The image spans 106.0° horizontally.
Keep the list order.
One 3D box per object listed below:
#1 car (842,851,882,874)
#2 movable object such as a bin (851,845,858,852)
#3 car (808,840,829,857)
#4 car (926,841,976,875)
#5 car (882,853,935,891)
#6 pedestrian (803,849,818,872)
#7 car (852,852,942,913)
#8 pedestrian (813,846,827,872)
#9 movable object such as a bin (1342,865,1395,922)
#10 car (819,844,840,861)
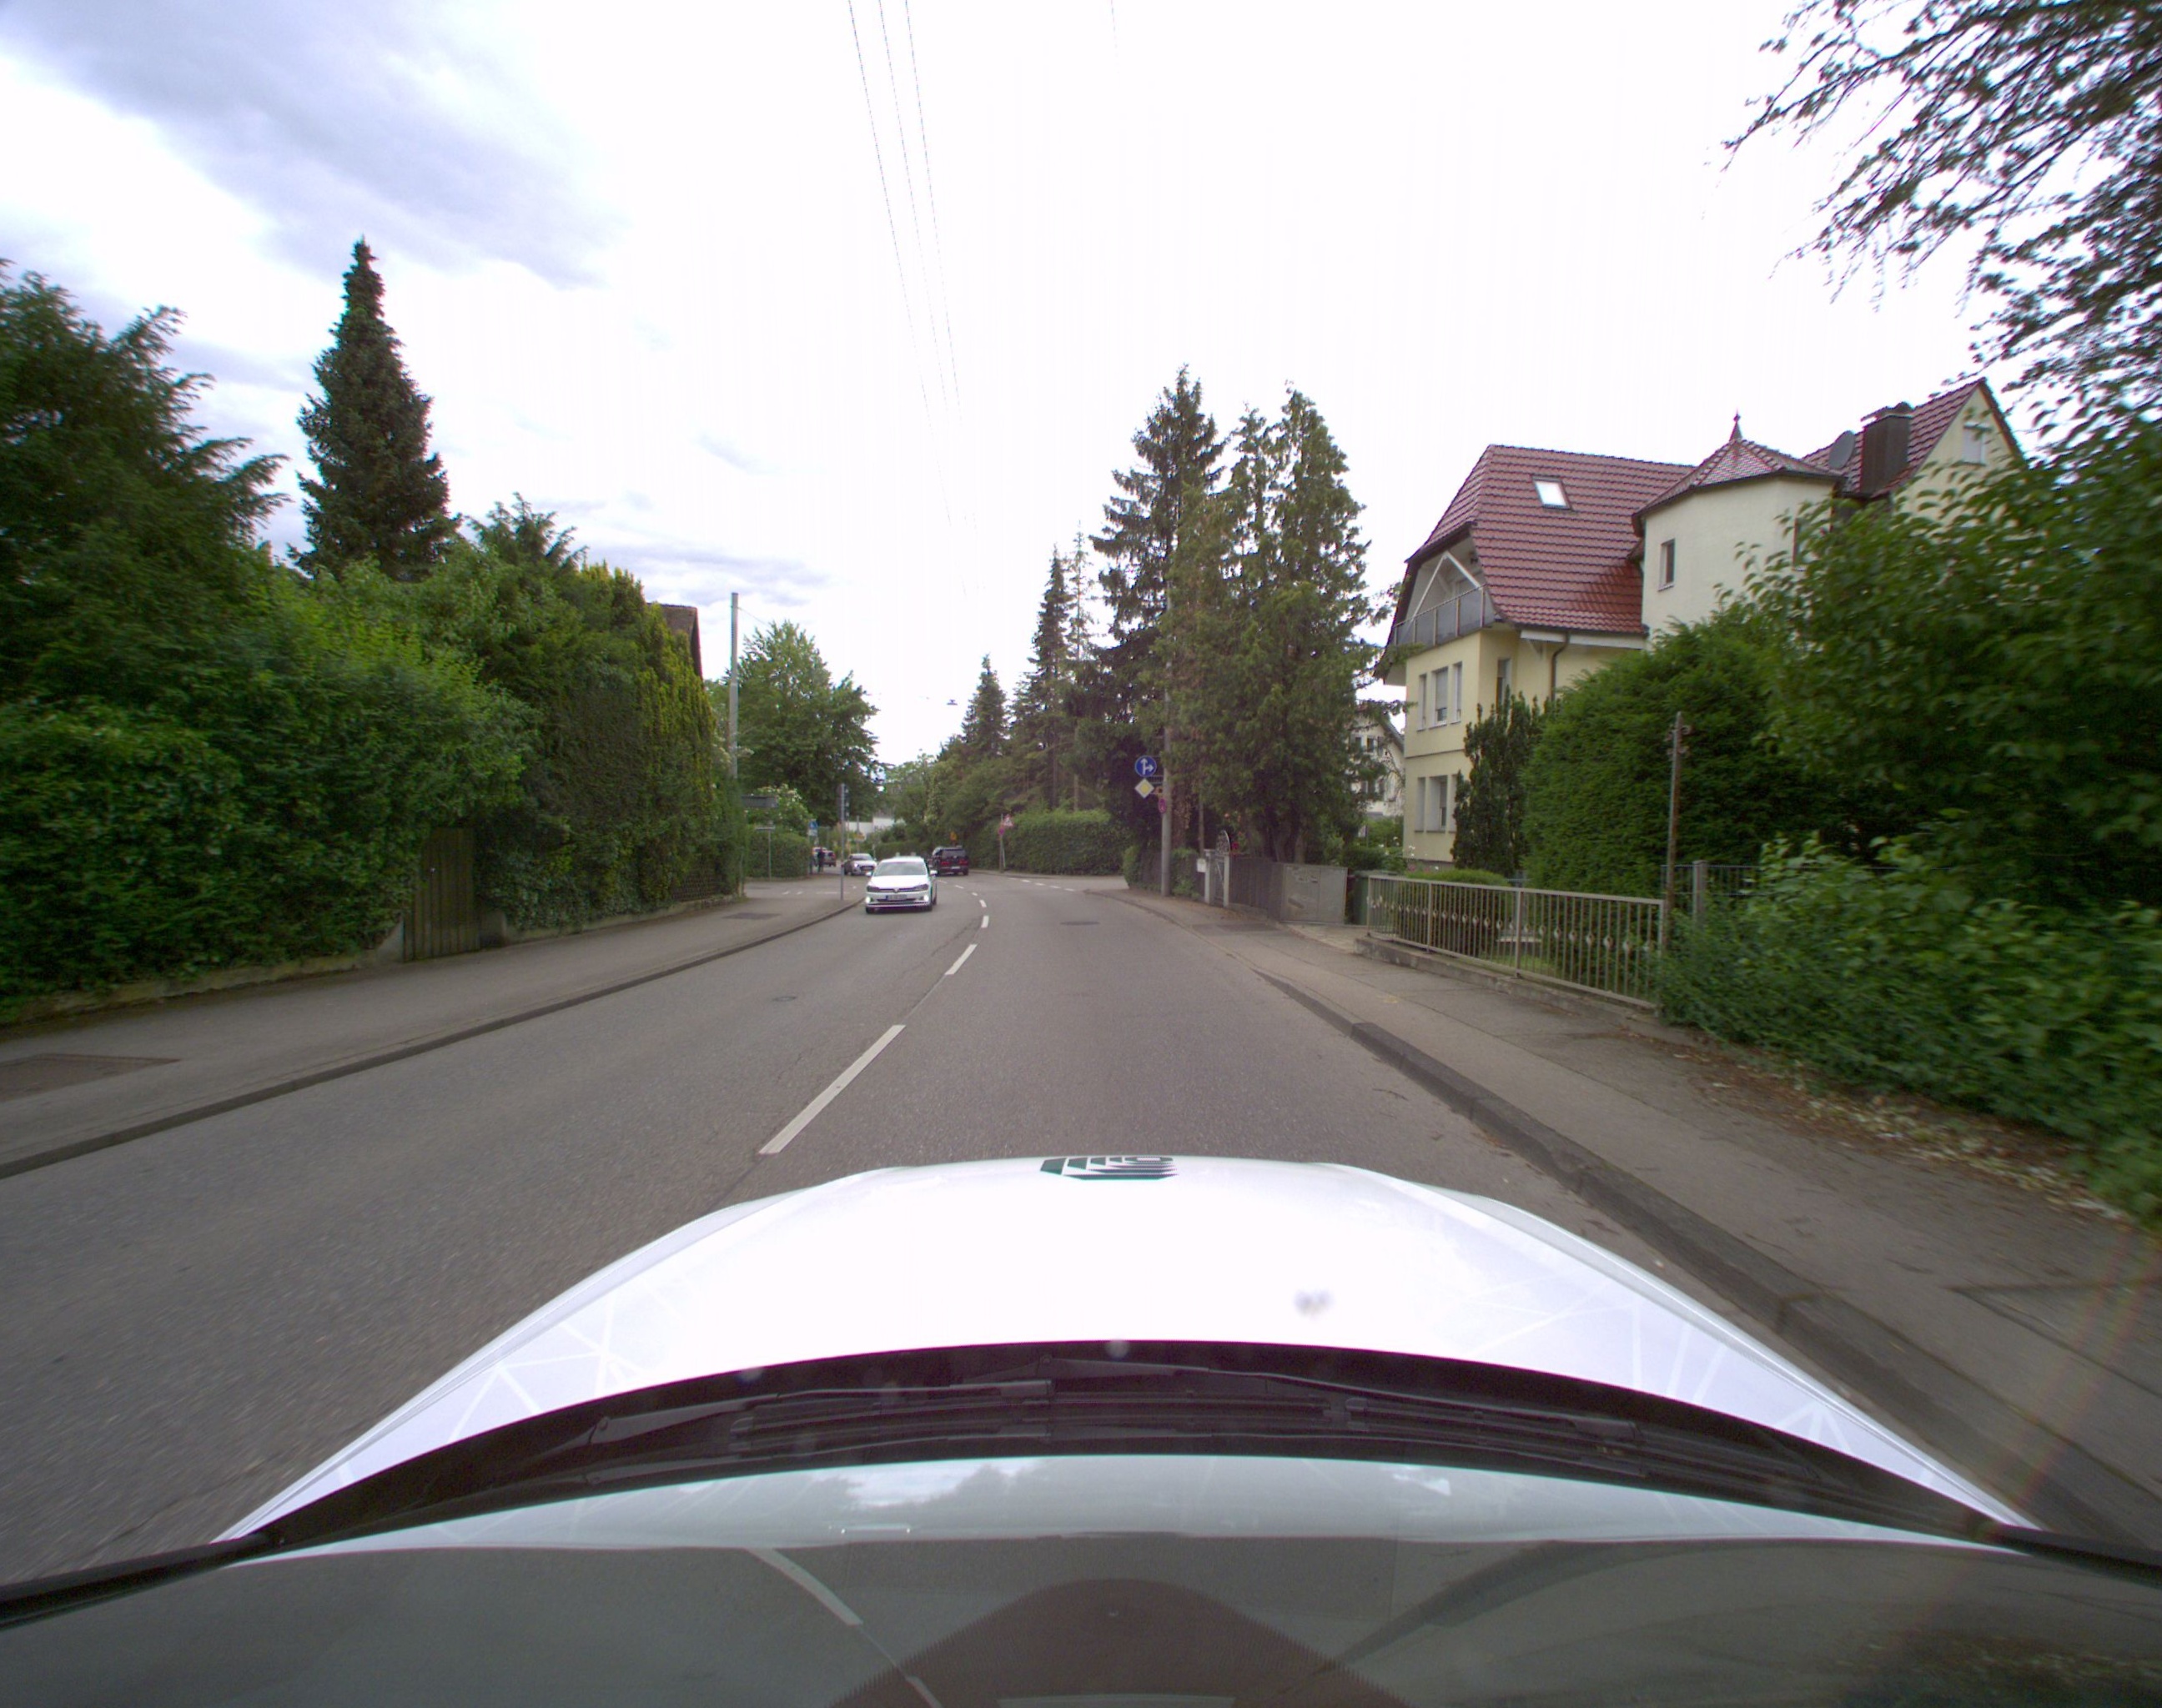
[{"bbox_3d":[-14.812,0.562,54.954,1.818,1.443,4.161,-2,0,-27],"label":"car"},{"bbox_3d":[-31.661,-0.763,113.859,0.673,1.074,0.720,1,-2,27],"label":"movable object such as a bin"},{"bbox_3d":[-33.900,-0.723,105.301,1.963,2.013,4.409,4,0,-13],"label":"car"},{"bbox_3d":[-7.888,0.206,48.985,2.003,1.881,3.969,0,2,-24],"label":"car"},{"bbox_3d":[-6.991,0.684,33.355,1.913,1.398,3.897,-1,1,-9],"label":"car"},{"bbox_3d":[-17.732,0.426,53.317,0.675,1.449,0.748,0,0,-41],"label":"pedestrian"},{"bbox_3d":[-5.039,0.716,22.790,1.899,1.454,3.790,-3,1,-5],"label":"car"},{"bbox_3d":[-17.275,0.333,53.889,0.634,1.662,0.909,1,-1,-39],"label":"pedestrian"},{"bbox_3d":[5.553,0.751,15.772,0.774,1.048,0.784,0,0,4],"label":"movable object such as a bin"},{"bbox_3d":[-25.661,-0.136,83.151,1.896,1.706,3.980,0,0,-14],"label":"car"}]
